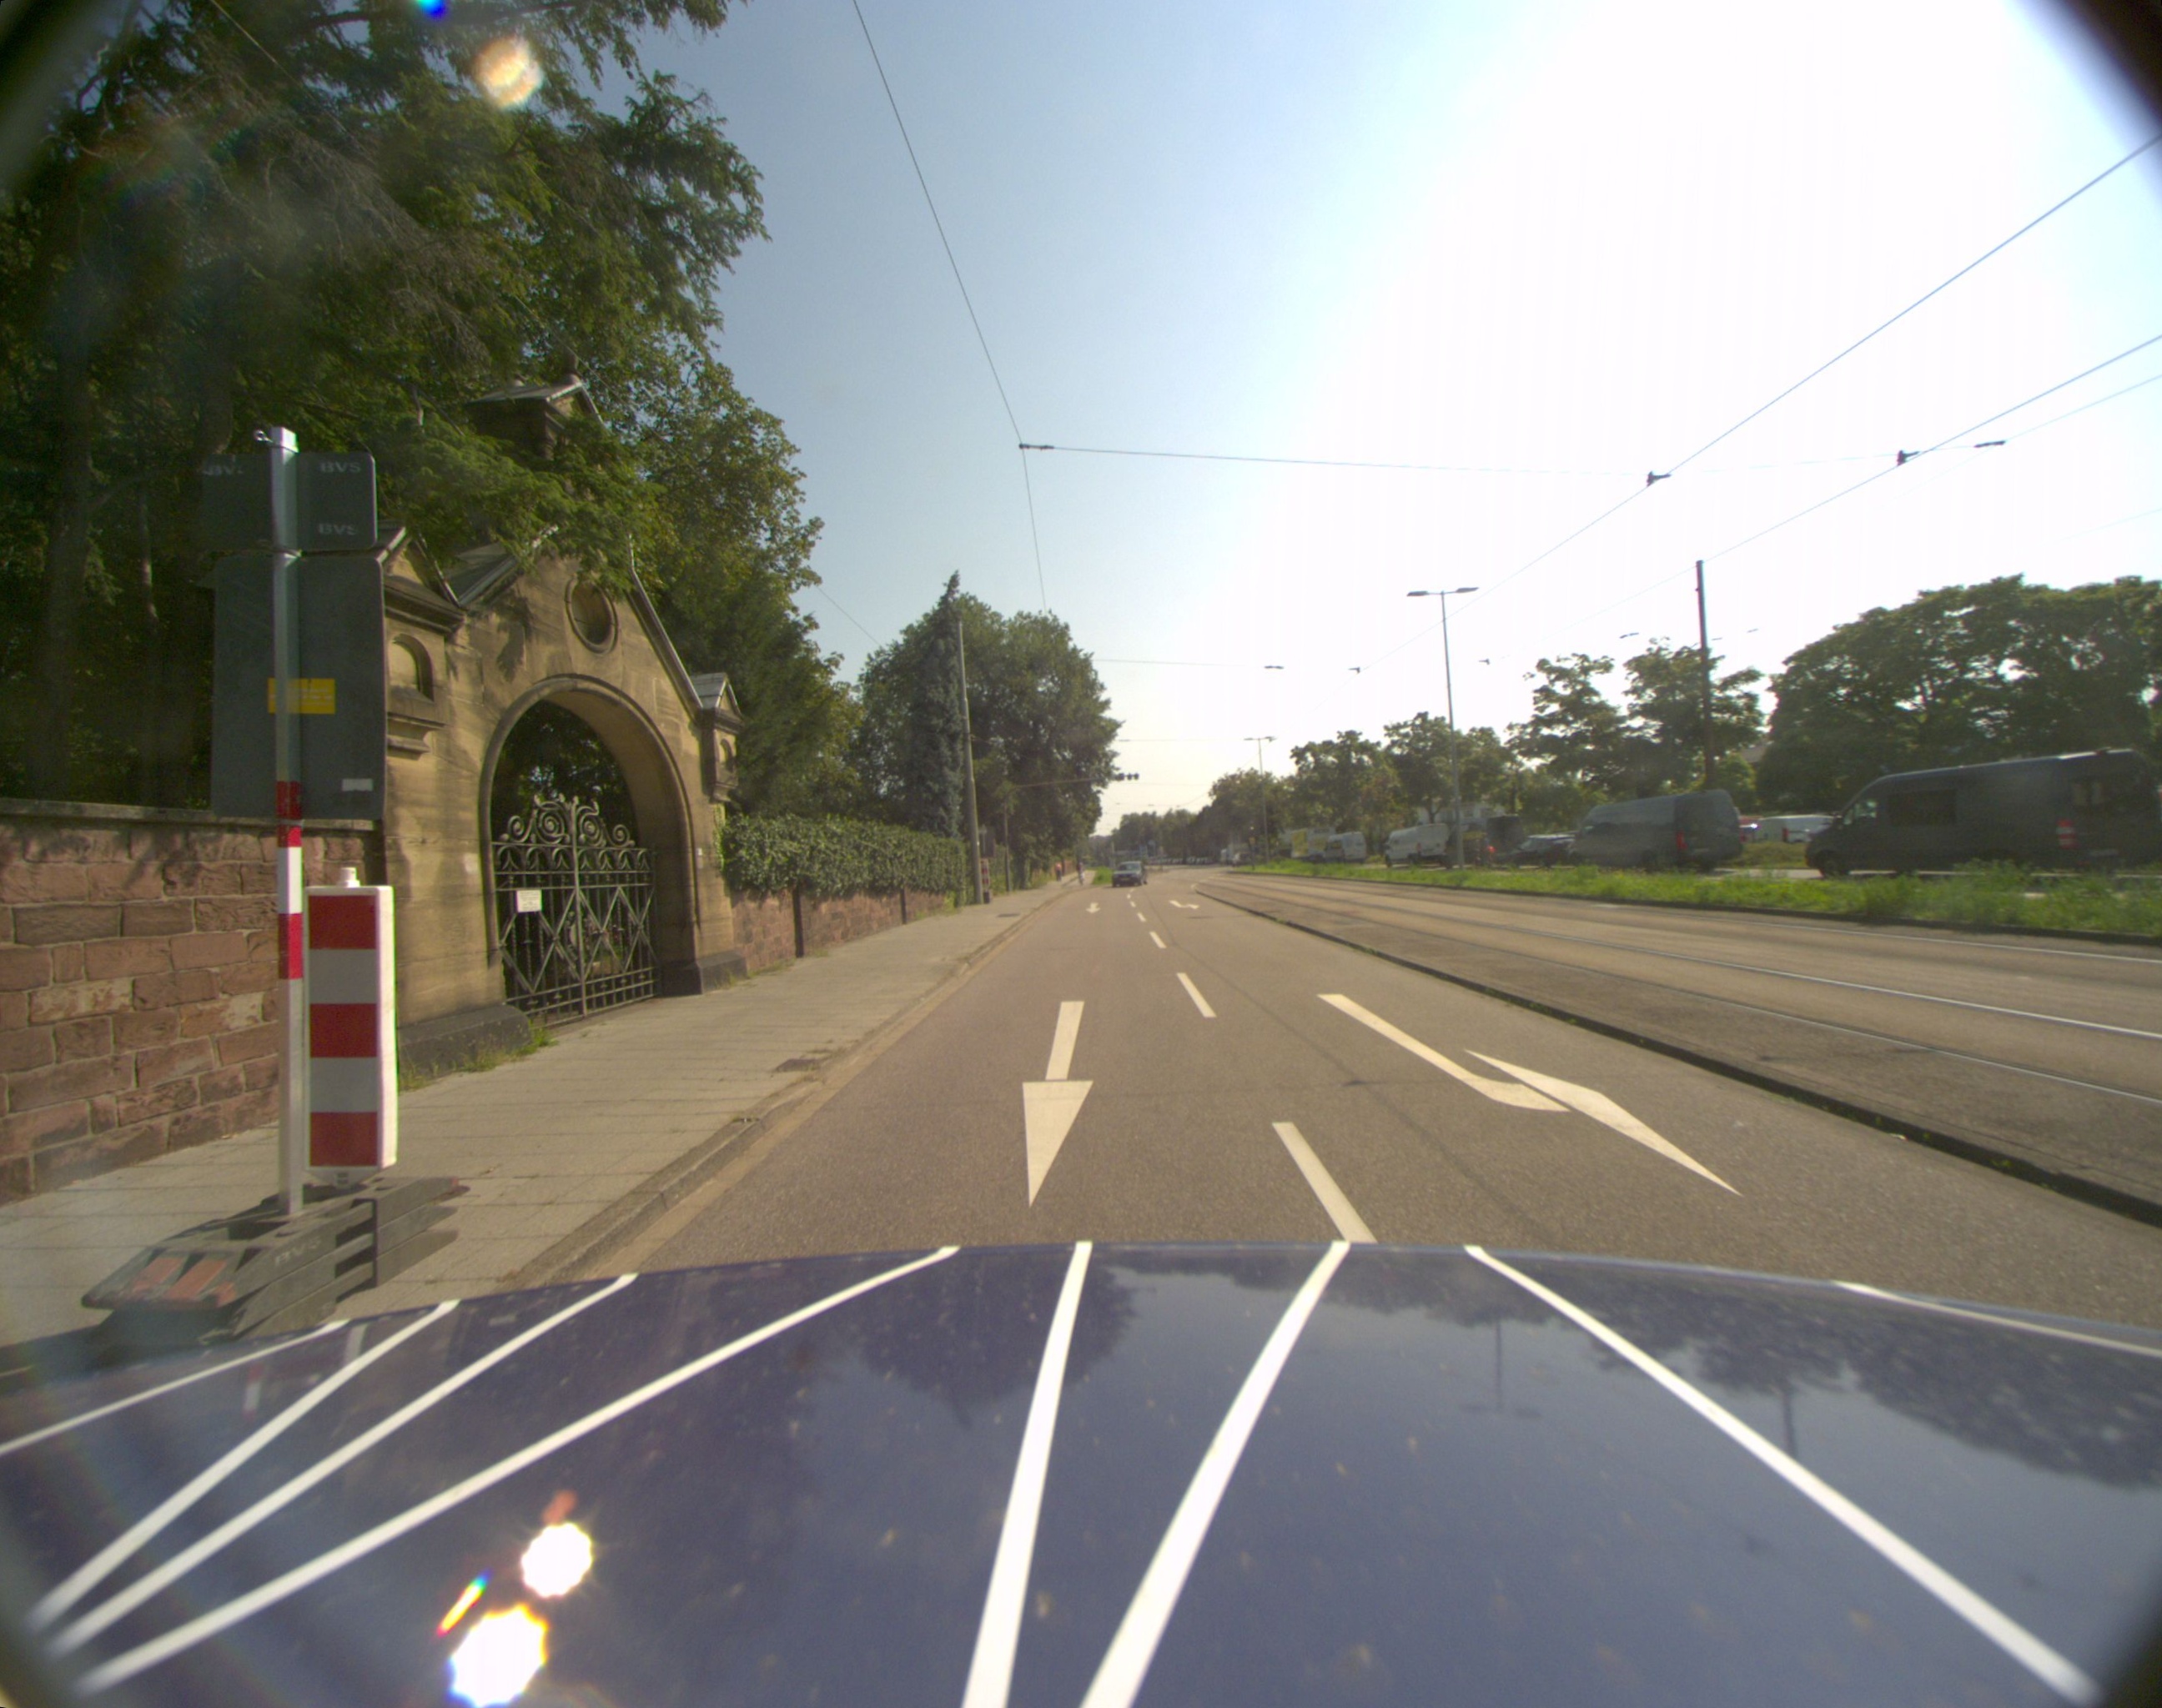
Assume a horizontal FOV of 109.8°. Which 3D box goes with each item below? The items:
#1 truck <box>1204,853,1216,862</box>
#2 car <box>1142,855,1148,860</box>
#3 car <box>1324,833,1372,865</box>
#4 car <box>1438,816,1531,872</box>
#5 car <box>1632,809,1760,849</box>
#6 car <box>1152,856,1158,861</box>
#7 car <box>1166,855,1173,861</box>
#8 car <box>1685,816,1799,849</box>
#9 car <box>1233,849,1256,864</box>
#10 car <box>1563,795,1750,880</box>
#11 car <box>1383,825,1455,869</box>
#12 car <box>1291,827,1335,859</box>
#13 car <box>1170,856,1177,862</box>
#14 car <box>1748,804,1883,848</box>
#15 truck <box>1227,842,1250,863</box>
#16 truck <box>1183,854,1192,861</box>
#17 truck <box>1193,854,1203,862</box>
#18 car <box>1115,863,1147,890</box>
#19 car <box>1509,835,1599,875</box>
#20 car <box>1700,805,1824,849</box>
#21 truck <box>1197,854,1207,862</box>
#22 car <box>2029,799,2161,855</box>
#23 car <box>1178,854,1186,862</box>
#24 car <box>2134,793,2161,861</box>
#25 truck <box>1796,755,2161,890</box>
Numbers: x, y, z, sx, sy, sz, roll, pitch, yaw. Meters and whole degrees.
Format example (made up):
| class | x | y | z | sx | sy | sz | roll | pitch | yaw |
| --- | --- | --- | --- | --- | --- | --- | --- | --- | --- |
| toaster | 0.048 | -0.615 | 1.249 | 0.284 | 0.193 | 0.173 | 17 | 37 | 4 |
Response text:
| class | x | y | z | sx | sy | sz | roll | pitch | yaw |
| --- | --- | --- | --- | --- | --- | --- | --- | --- | --- |
| truck | 24.653 | 0.687 | 145.423 | 1.691 | 1.664 | 3.656 | -2 | 0 | 2 |
| car | 19.979 | 1.002 | 237.183 | 1.550 | 1.575 | 3.456 | -2 | 0 | 1 |
| car | 21.790 | -0.422 | 62.225 | 2.148 | 2.444 | 4.832 | -2 | 0 | 1 |
| car | 20.943 | -0.440 | 39.765 | 1.826 | 2.570 | 5.911 | -5 | -1 | 3 |
| car | 33.114 | -1.328 | 41.016 | 5.198 | 1.914 | 2.053 | -2 | 0 | 1 |
| car | 22.014 | 1.318 | 225.511 | 1.550 | 1.575 | 3.456 | -2 | 0 | 1 |
| car | 23.984 | 1.189 | 206.425 | 1.550 | 1.575 | 3.456 | -2 | 0 | 1 |
| car | 32.943 | -1.075 | 37.974 | 3.996 | 1.442 | 1.857 | -2 | 0 | 2 |
| car | 18.100 | 0.271 | 84.160 | 1.929 | 1.510 | 3.950 | -2 | 0 | 5 |
| car | 20.426 | -0.513 | 27.508 | 1.993 | 2.571 | 6.468 | -5 | 0 | 3 |
| car | 21.235 | -0.416 | 48.036 | 2.137 | 2.571 | 5.632 | -2 | 0 | 3 |
| car | 21.795 | -1.009 | 71.820 | 2.129 | 2.788 | 7.232 | -2 | 0 | 3 |
| car | 24.375 | 1.251 | 200.373 | 1.550 | 1.575 | 3.456 | -2 | 0 | 1 |
| car | 31.425 | -1.158 | 32.587 | 3.996 | 1.684 | 1.746 | -2 | 0 | 2 |
| truck | 23.804 | -0.216 | 115.152 | 2.278 | 3.103 | 8.790 | -2 | 0 | 5 |
| truck | 25.635 | 0.893 | 182.556 | 1.691 | 1.664 | 3.656 | -2 | 0 | 2 |
| truck | 25.065 | 0.940 | 162.607 | 1.691 | 1.664 | 3.656 | -2 | 0 | 2 |
| car | 2.915 | 1.288 | 44.911 | 1.775 | 1.416 | 3.936 | -2 | 0 | 3 |
| car | 20.893 | 0.048 | 33.754 | 1.748 | 1.543 | 3.835 | -4 | 0 | 5 |
| car | 31.459 | -1.223 | 35.198 | 3.996 | 1.827 | 1.857 | -2 | 0 | 2 |
| truck | 24.663 | 0.828 | 154.935 | 1.691 | 1.664 | 3.656 | -2 | 0 | 2 |
| car | 30.625 | -0.785 | 22.125 | 3.933 | 1.509 | 1.633 | -2 | 0 | 1 |
| car | 25.196 | 0.980 | 188.840 | 1.550 | 1.758 | 3.646 | -2 | 0 | 1 |
| car | 30.499 | -0.783 | 19.559 | 4.409 | 1.774 | 1.633 | -2 | 0 | 1 |
| truck | 20.206 | -0.609 | 17.526 | 2.086 | 2.533 | 5.739 | -2 | 0 | 1 |
